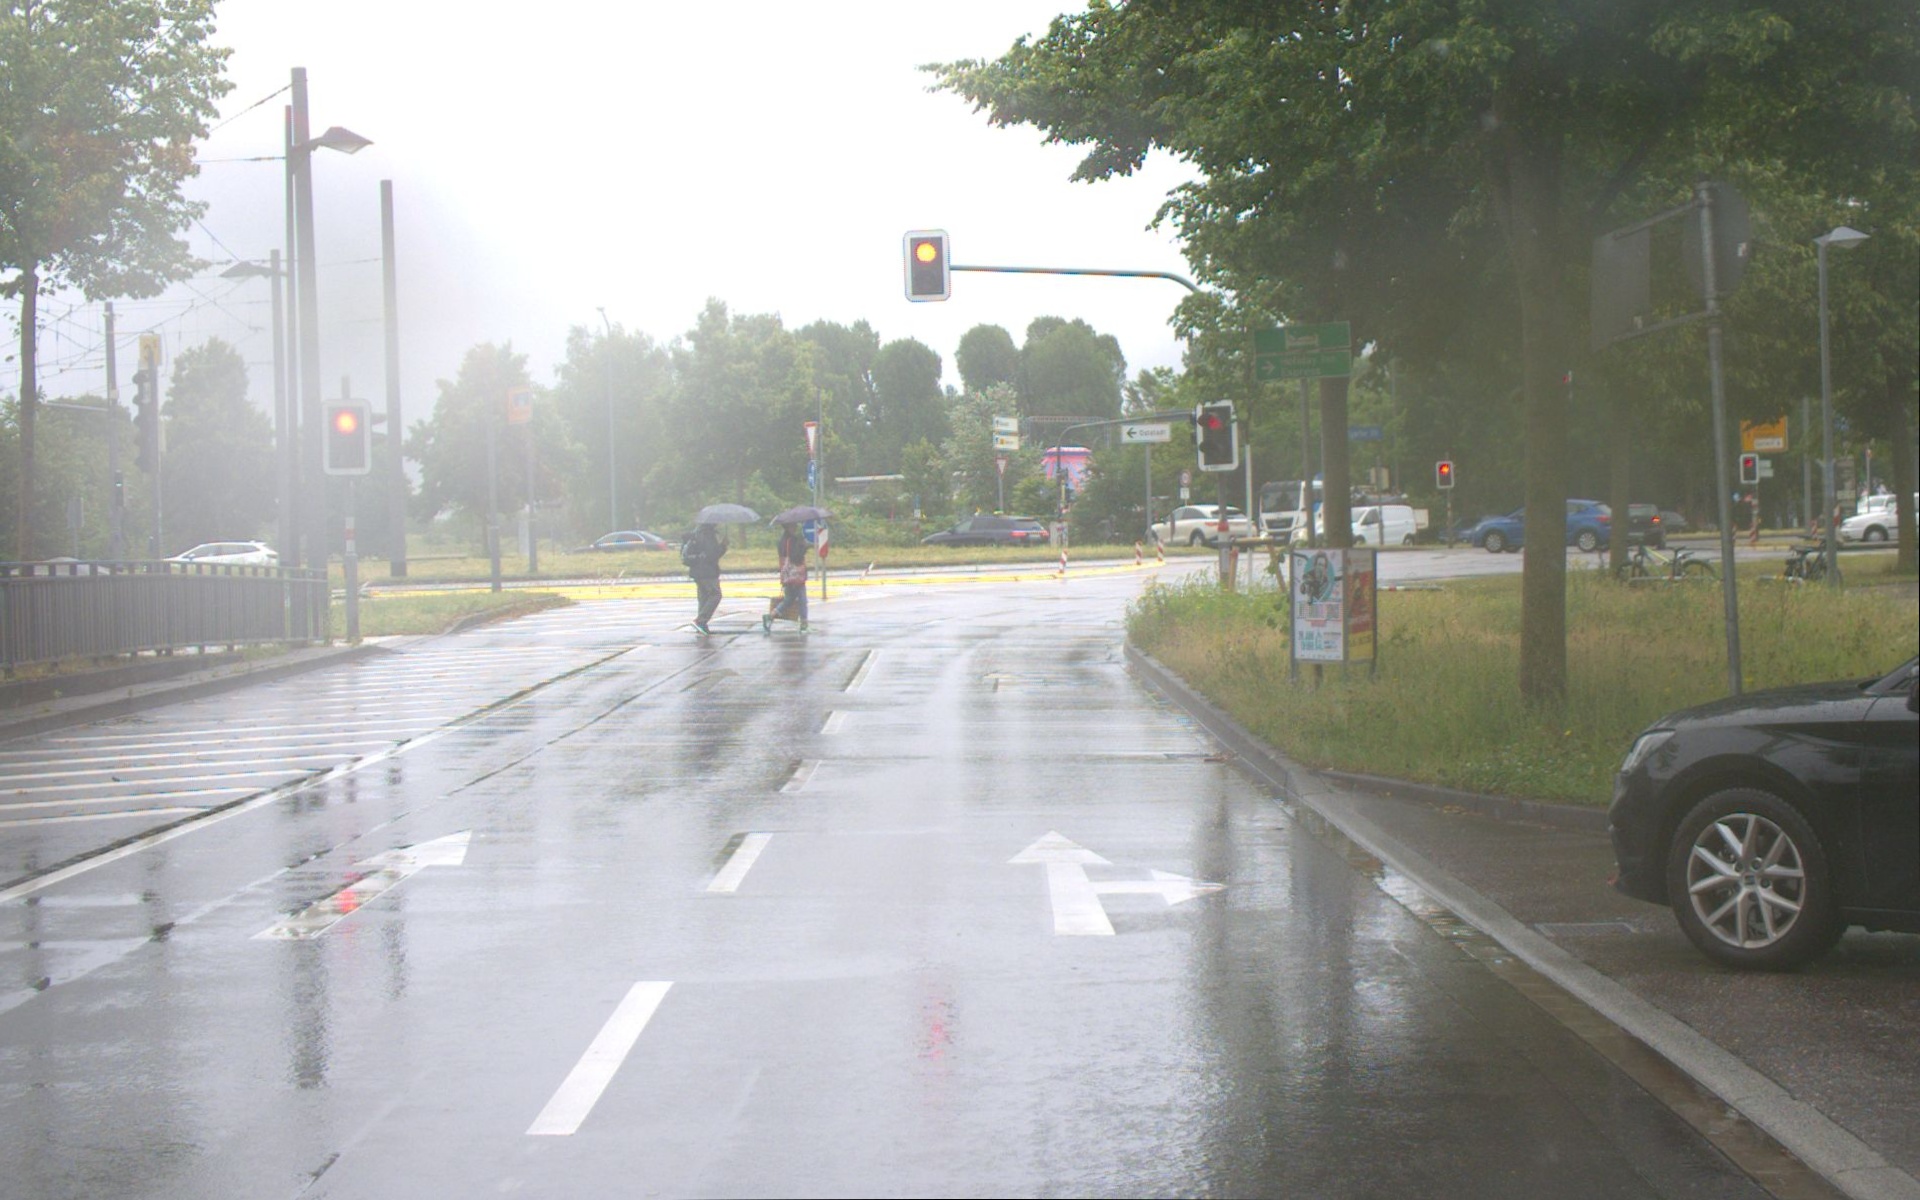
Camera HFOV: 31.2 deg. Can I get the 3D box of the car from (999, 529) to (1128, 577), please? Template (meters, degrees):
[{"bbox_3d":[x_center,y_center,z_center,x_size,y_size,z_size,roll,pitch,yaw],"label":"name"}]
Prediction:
[{"bbox_3d":[3.303,-1.509,110.056,3.984,1.449,1.620,0,2,41],"label":"car"}]

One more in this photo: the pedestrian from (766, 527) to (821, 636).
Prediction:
[{"bbox_3d":[-2.284,-0.249,47.158,0.680,1.456,0.573,-2,0,-3],"label":"pedestrian"}]

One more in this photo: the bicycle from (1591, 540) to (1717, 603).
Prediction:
[{"bbox_3d":[8.847,-0.371,43.865,0.379,0.784,1.859,1,0,-33],"label":"bicycle"}]

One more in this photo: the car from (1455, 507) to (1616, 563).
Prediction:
[{"bbox_3d":[15.650,-1.766,93.522,3.981,1.449,1.621,-1,1,29],"label":"car"}]

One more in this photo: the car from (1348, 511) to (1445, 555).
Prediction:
[{"bbox_3d":[17.464,-2.672,137.433,1.801,1.656,4.124,1,1,42],"label":"car"}]

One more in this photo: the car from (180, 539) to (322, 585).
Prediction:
[{"bbox_3d":[-24.252,-1.315,117.627,4.606,1.449,1.624,-2,1,-17],"label":"car"}]

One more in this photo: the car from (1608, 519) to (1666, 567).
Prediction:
[{"bbox_3d":[21.605,-1.834,109.601,1.619,1.449,3.985,-1,1,13],"label":"car"}]

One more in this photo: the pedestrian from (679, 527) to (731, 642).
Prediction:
[{"bbox_3d":[-3.407,-0.211,45.979,0.621,1.517,0.741,0,1,0],"label":"pedestrian"}]

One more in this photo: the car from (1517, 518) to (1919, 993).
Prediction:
[{"bbox_3d":[4.033,0.474,10.734,1.828,1.415,4.344,-3,3,-41],"label":"car"}]

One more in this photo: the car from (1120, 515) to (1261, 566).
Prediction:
[{"bbox_3d":[6.911,-1.790,103.425,4.110,1.449,1.619,0,2,43],"label":"car"}]

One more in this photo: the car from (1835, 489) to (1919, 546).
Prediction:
[{"bbox_3d":[25.367,-2.209,91.345,3.976,1.449,1.623,-1,1,11],"label":"car"}]

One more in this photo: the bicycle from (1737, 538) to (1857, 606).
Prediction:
[{"bbox_3d":[9.989,-0.336,41.102,0.452,0.784,2.009,1,0,-16],"label":"bicycle"}]

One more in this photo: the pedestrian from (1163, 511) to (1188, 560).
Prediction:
[{"bbox_3d":[5.898,-1.763,93.974,0.453,1.300,0.485,0,2,40],"label":"pedestrian"}]
